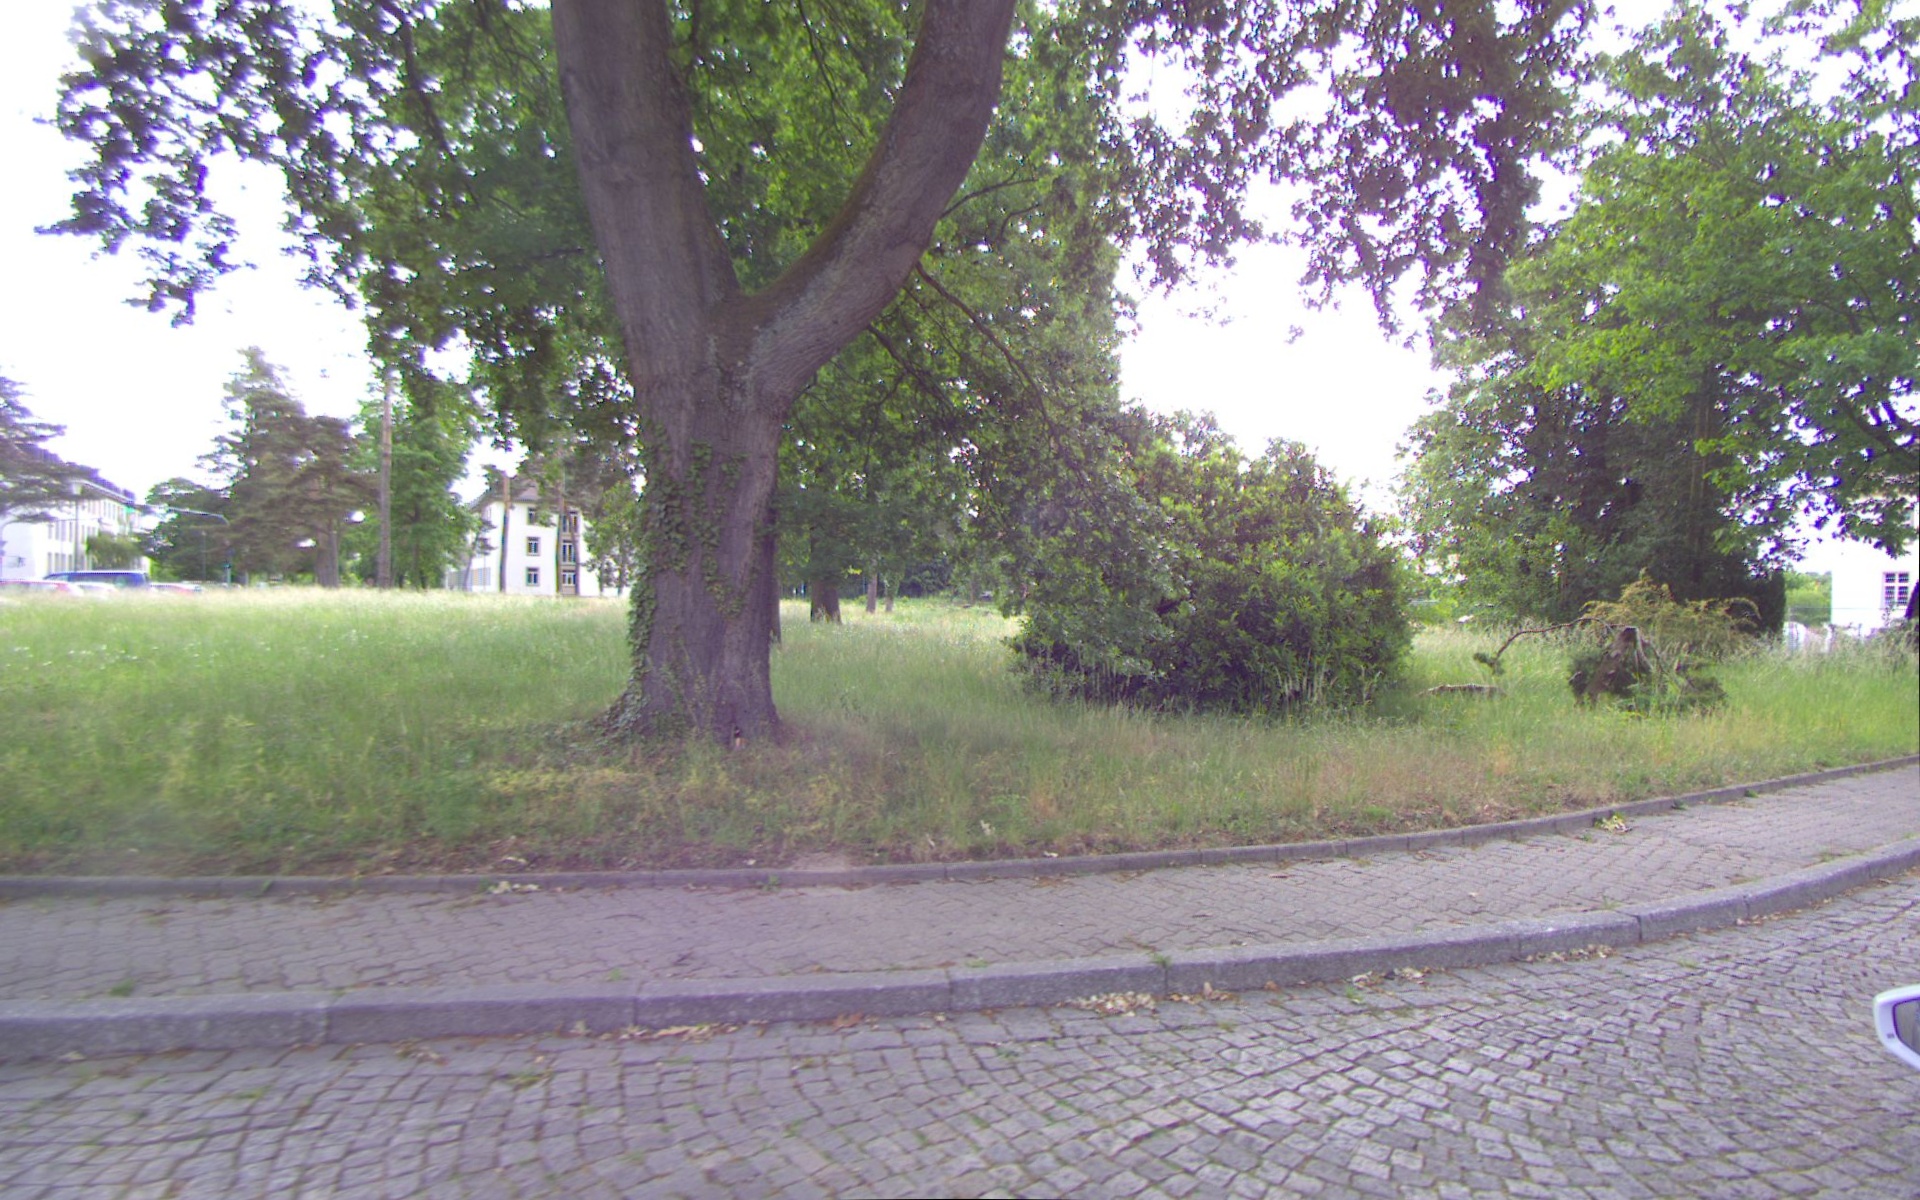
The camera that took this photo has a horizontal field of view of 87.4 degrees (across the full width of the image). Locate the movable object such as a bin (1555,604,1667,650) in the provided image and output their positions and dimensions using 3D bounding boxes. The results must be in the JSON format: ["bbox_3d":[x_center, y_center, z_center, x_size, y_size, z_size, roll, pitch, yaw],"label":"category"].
[{"bbox_3d":[39.067,1.573,60.442,1.979,2.590,5.297,1,0,-33],"label":"movable object such as a bin"}]

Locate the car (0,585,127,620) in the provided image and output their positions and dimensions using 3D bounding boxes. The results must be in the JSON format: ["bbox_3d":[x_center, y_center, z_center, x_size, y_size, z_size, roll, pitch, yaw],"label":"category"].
[{"bbox_3d":[-36.275,0.059,40.701,3.656,1.357,1.569,-1,1,-34],"label":"car"}]

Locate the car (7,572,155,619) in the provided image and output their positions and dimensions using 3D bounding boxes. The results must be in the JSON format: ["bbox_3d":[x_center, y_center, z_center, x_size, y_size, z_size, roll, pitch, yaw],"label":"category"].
[{"bbox_3d":[-37.417,-0.234,42.935,4.497,1.927,1.776,-1,1,-34],"label":"car"}]

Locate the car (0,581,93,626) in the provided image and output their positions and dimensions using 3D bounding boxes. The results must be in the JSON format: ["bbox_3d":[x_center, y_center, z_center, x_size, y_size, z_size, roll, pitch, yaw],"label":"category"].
[{"bbox_3d":[-31.262,0.096,33.273,3.625,1.440,1.562,-1,1,-34],"label":"car"}]

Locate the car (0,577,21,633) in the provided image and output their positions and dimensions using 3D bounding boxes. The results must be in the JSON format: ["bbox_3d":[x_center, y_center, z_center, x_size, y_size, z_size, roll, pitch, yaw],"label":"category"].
[{"bbox_3d":[-27.485,0.139,26.671,3.462,1.502,1.587,-1,1,-34],"label":"car"}]
